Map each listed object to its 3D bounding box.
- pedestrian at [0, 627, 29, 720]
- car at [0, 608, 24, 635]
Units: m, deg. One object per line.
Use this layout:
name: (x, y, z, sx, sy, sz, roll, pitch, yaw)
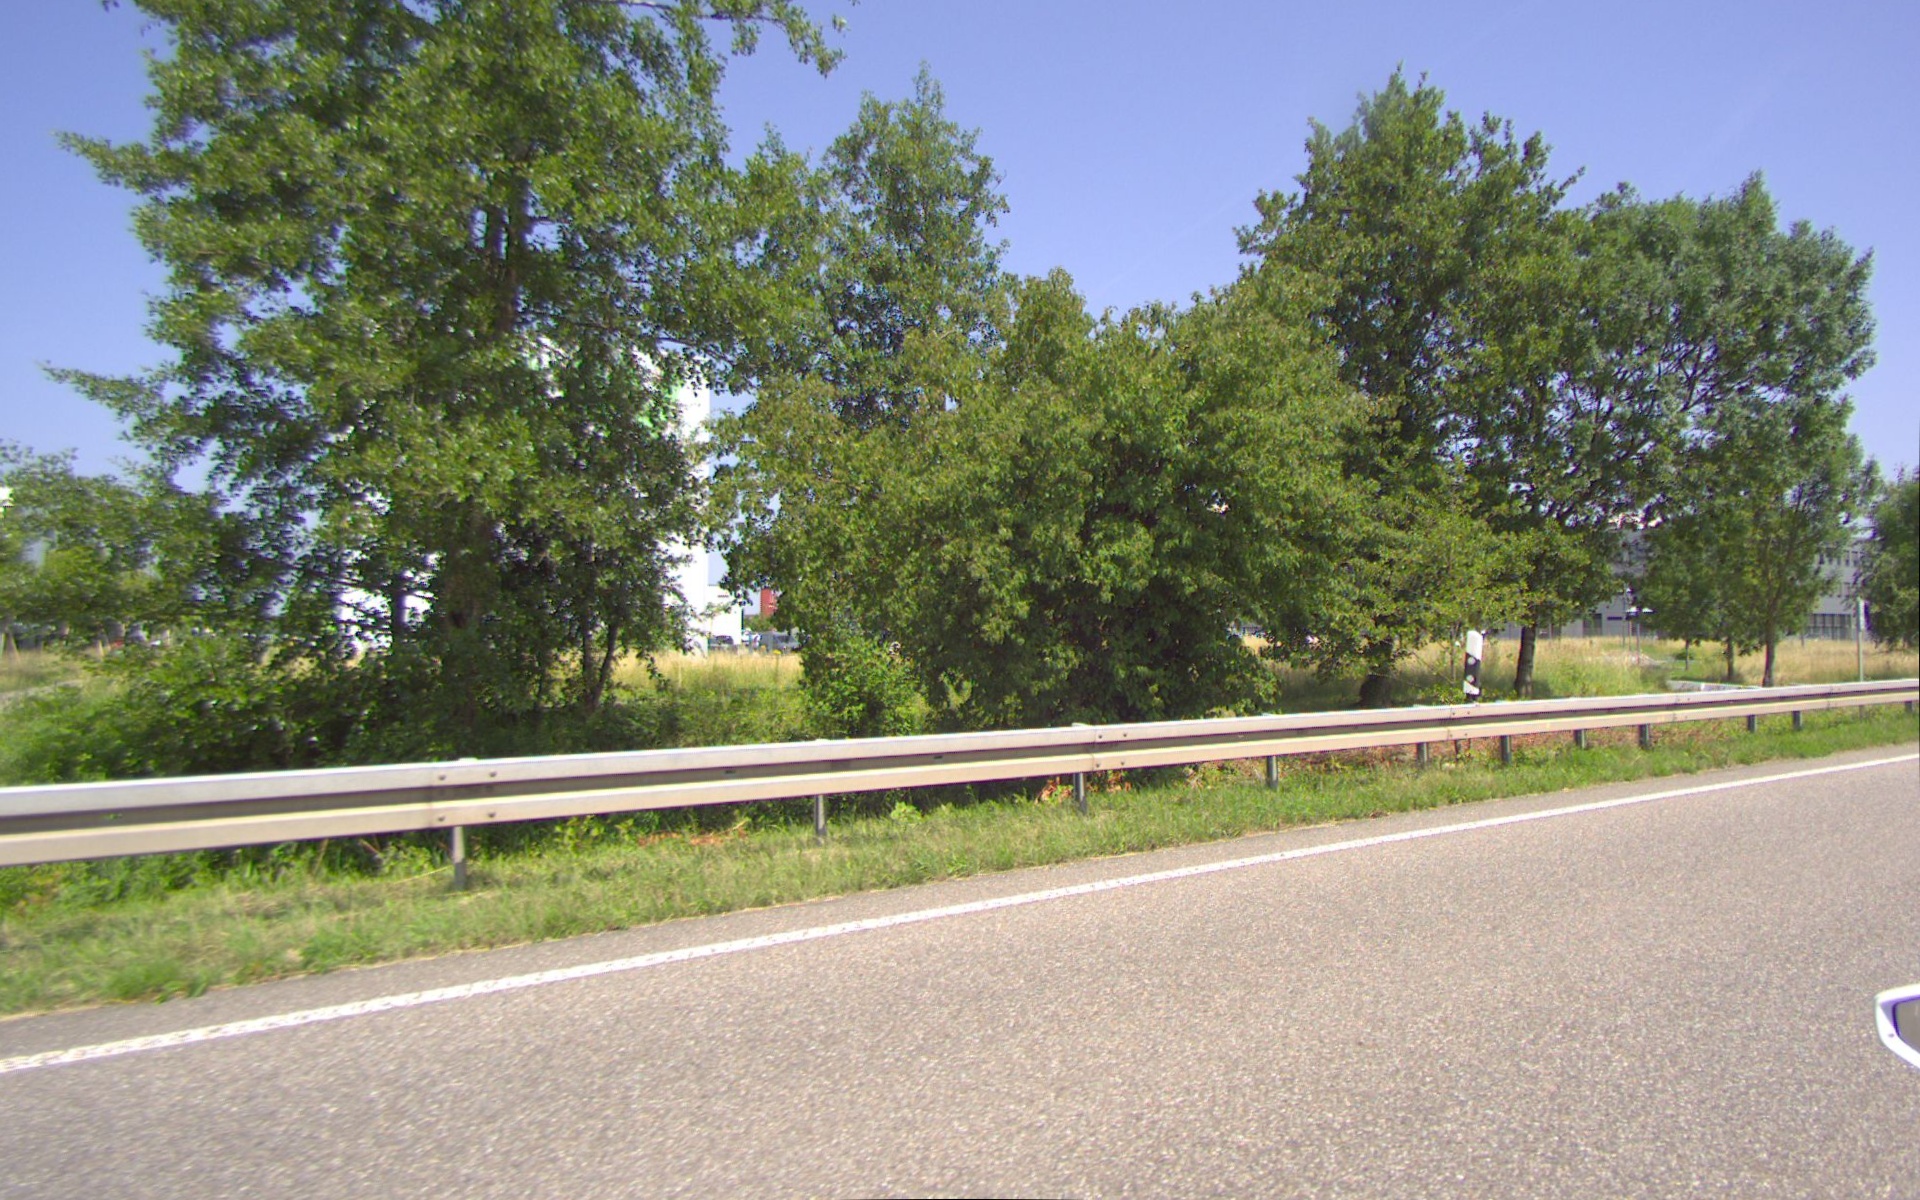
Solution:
pedestrian: (-18.853, 1.419, 19.480, 0.918, 1.772, 0.719, 0, -1, 2)
car: (-57.629, 1.240, 58.680, 3.953, 1.598, 1.984, 1, 0, -30)
